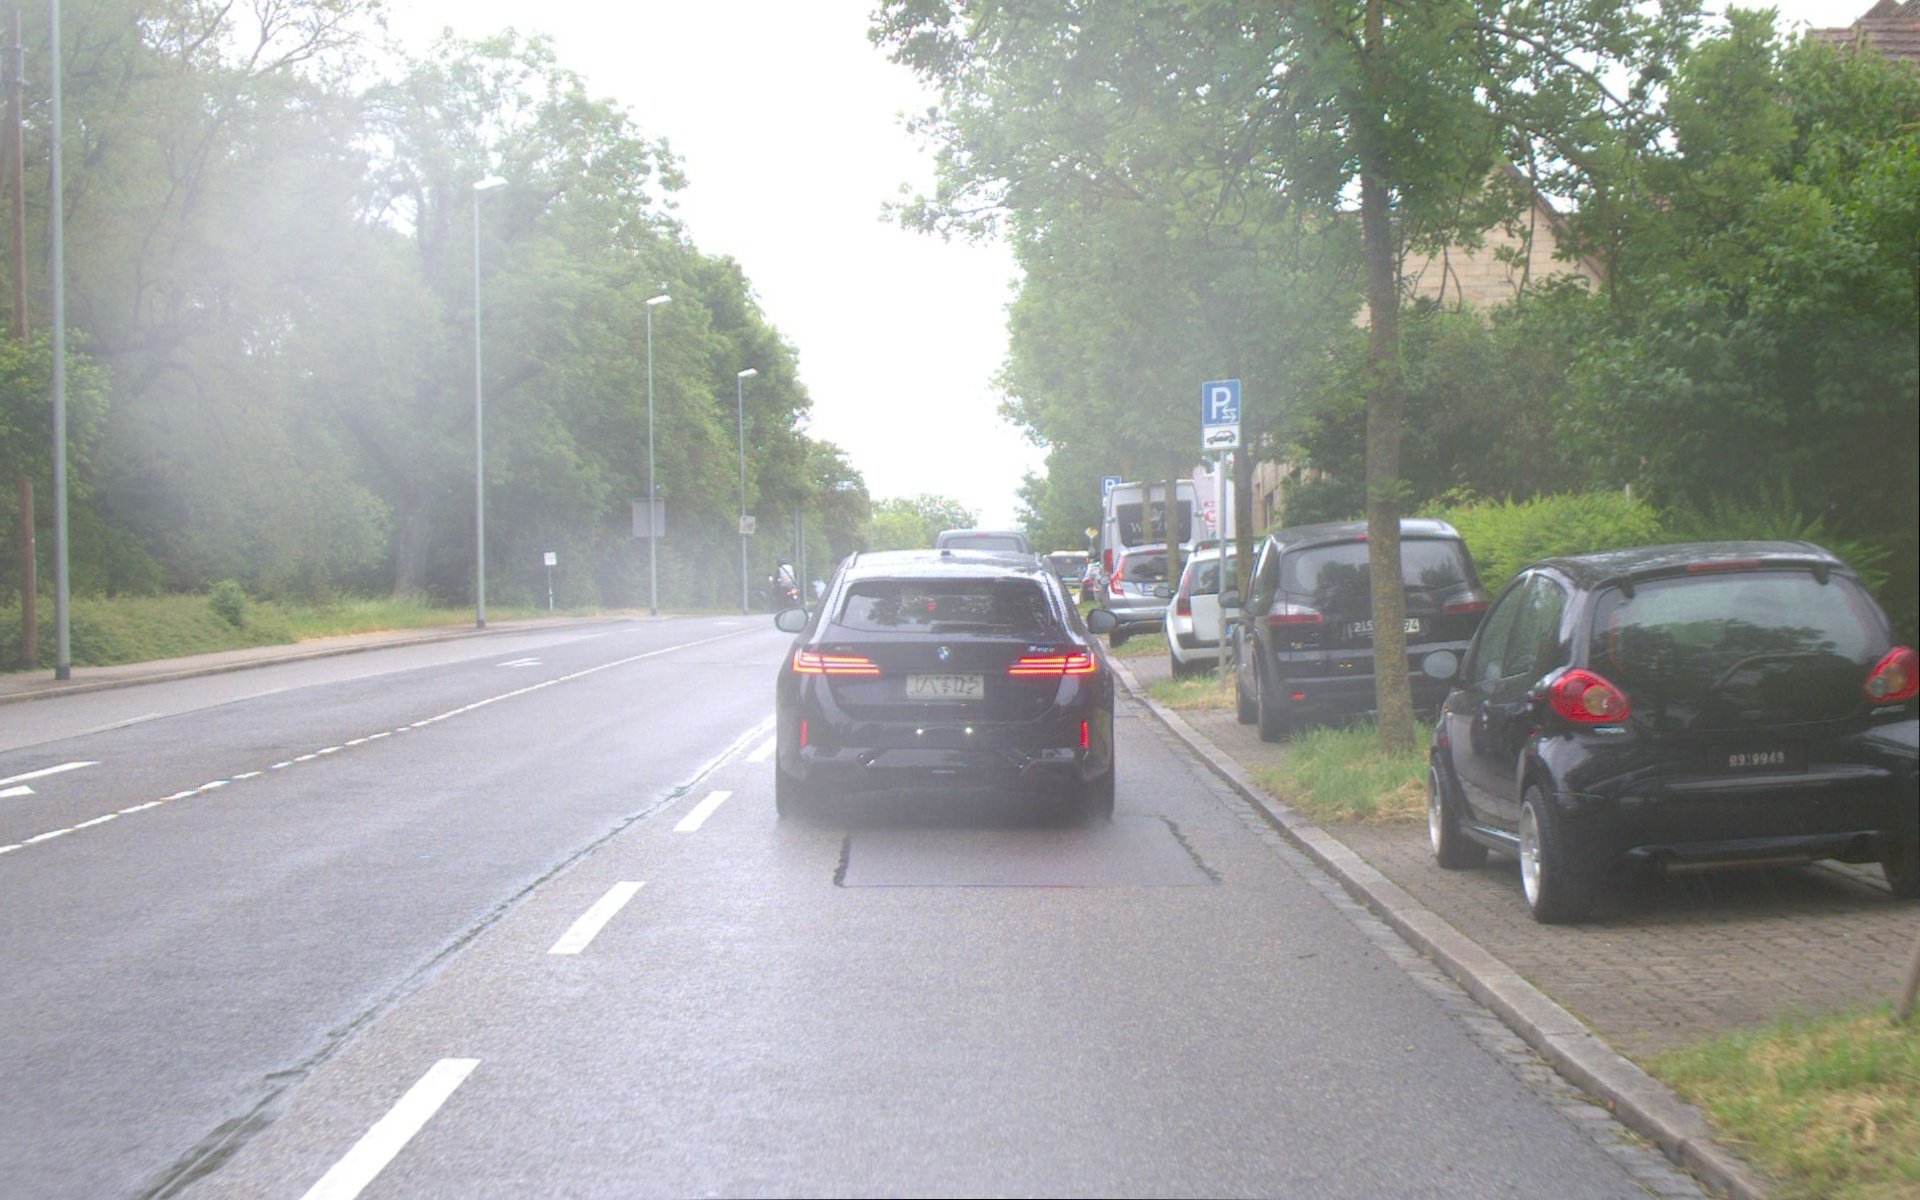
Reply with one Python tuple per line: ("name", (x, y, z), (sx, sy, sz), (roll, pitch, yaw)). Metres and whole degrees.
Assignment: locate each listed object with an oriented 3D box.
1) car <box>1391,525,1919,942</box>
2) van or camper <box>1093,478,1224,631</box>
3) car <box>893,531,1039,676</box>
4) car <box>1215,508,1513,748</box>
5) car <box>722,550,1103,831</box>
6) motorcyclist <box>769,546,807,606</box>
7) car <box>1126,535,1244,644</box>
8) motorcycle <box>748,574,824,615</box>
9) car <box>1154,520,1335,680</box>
("car", (3.035, 0.468, 14.867), (1.722, 1.507, 3.786), (-2, 1, -1))
("van or camper", (3.695, -0.863, 65.349), (2.198, 2.642, 7.301), (-3, 1, 2))
("car", (0.133, 0.055, 50.168), (1.993, 2.007, 4.000), (0, 0, 2))
("car", (3.127, 0.177, 27.459), (1.824, 1.672, 4.584), (-3, 1, 1))
("car", (-0.259, 0.483, 20.324), (1.993, 1.448, 4.000), (2, 0, 0))
("motorcyclist", (-4.801, -0.678, 96.036), (0.651, 1.675, 0.811), (1, 1, 43))
("car", (3.497, -0.173, 53.425), (1.668, 1.523, 3.831), (-4, 0, 4))
("motorcycle", (-4.862, -0.157, 96.089), (2.187, 1.114, 0.822), (1, 1, 43))
("car", (3.161, -0.036, 38.401), (1.824, 1.597, 4.473), (-3, 1, 4))
